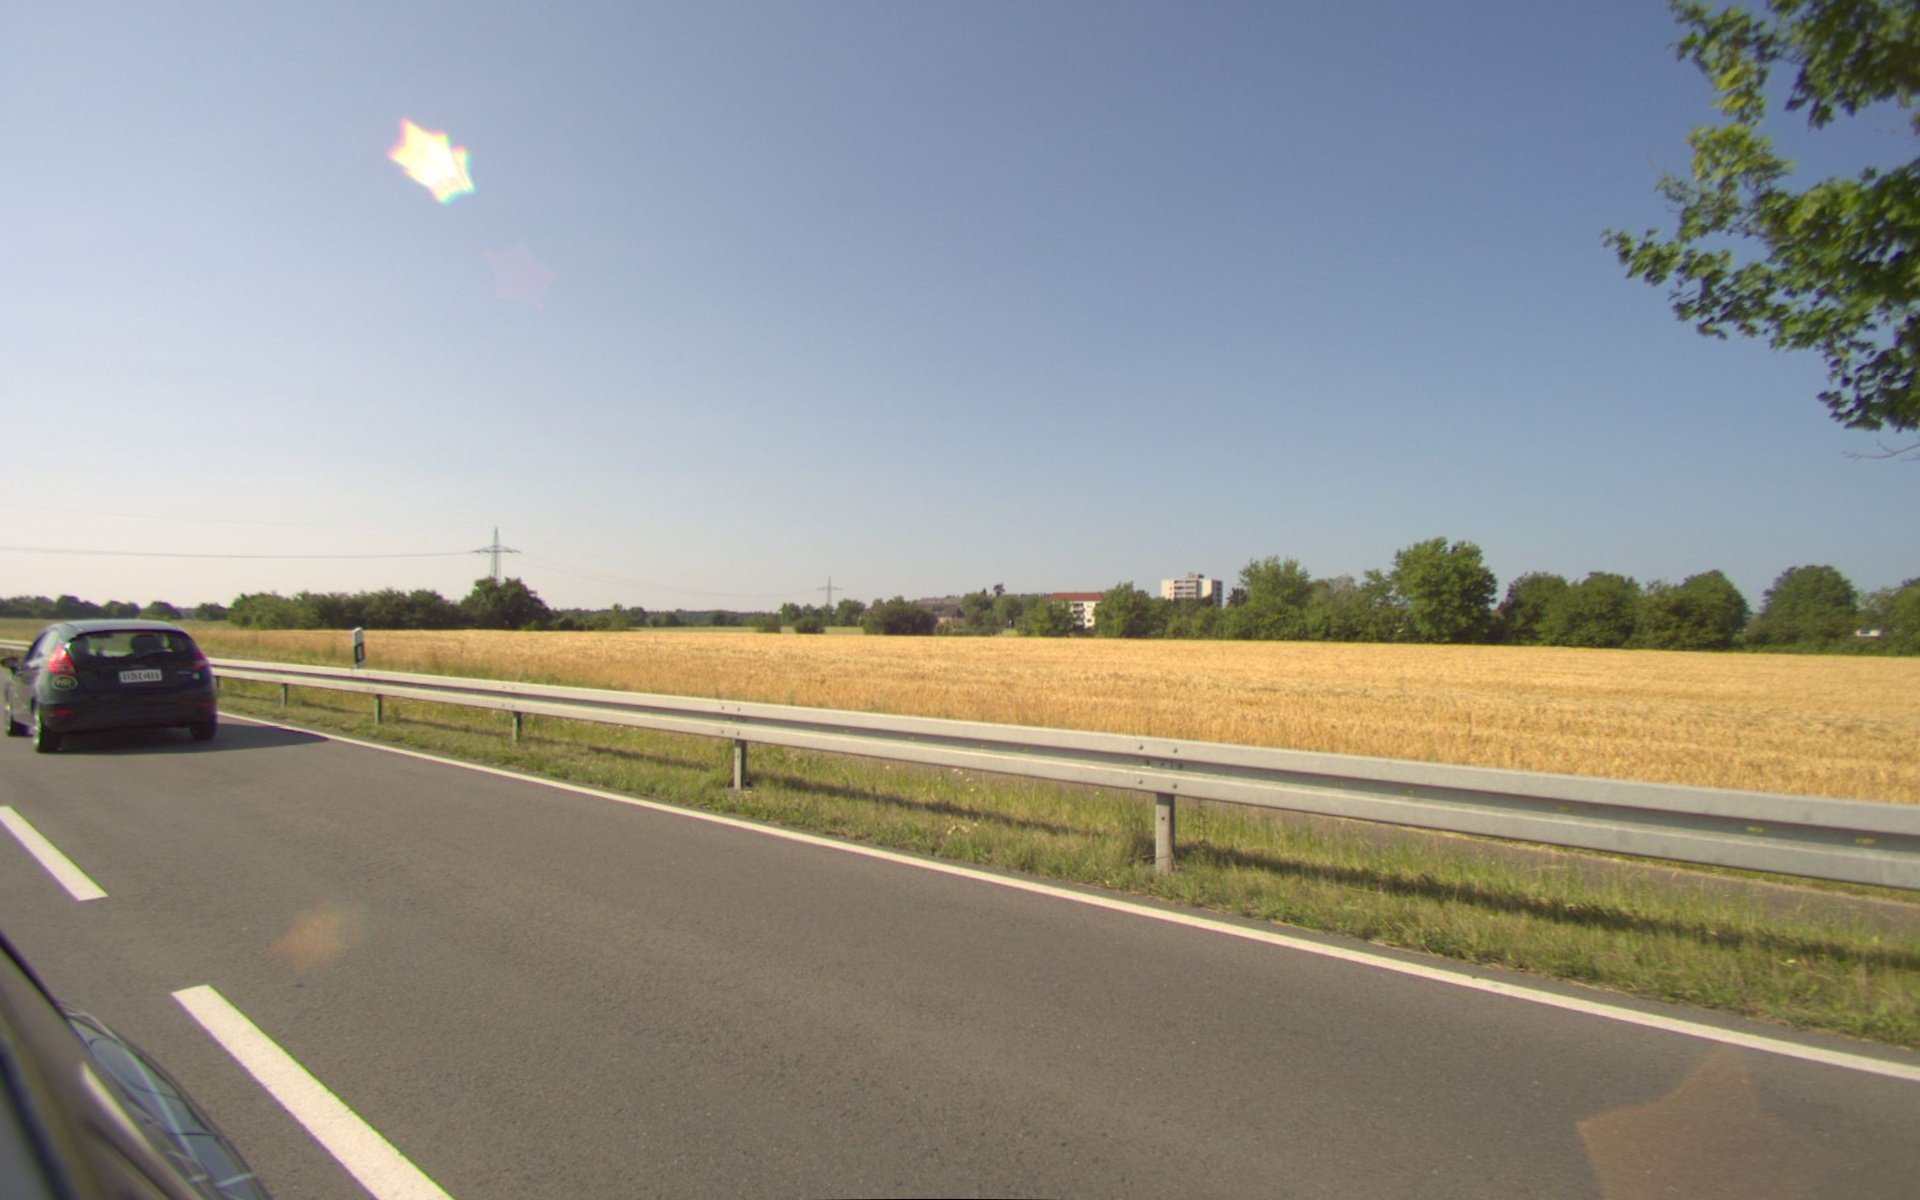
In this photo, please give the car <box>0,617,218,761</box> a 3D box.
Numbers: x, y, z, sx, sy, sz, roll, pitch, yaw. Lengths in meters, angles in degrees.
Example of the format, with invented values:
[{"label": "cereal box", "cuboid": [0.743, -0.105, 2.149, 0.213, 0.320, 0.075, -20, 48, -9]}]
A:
[{"label": "car", "cuboid": [-10.562, 0.962, 12.410, 3.806, 1.483, 1.626, -1, -1, 42]}]
